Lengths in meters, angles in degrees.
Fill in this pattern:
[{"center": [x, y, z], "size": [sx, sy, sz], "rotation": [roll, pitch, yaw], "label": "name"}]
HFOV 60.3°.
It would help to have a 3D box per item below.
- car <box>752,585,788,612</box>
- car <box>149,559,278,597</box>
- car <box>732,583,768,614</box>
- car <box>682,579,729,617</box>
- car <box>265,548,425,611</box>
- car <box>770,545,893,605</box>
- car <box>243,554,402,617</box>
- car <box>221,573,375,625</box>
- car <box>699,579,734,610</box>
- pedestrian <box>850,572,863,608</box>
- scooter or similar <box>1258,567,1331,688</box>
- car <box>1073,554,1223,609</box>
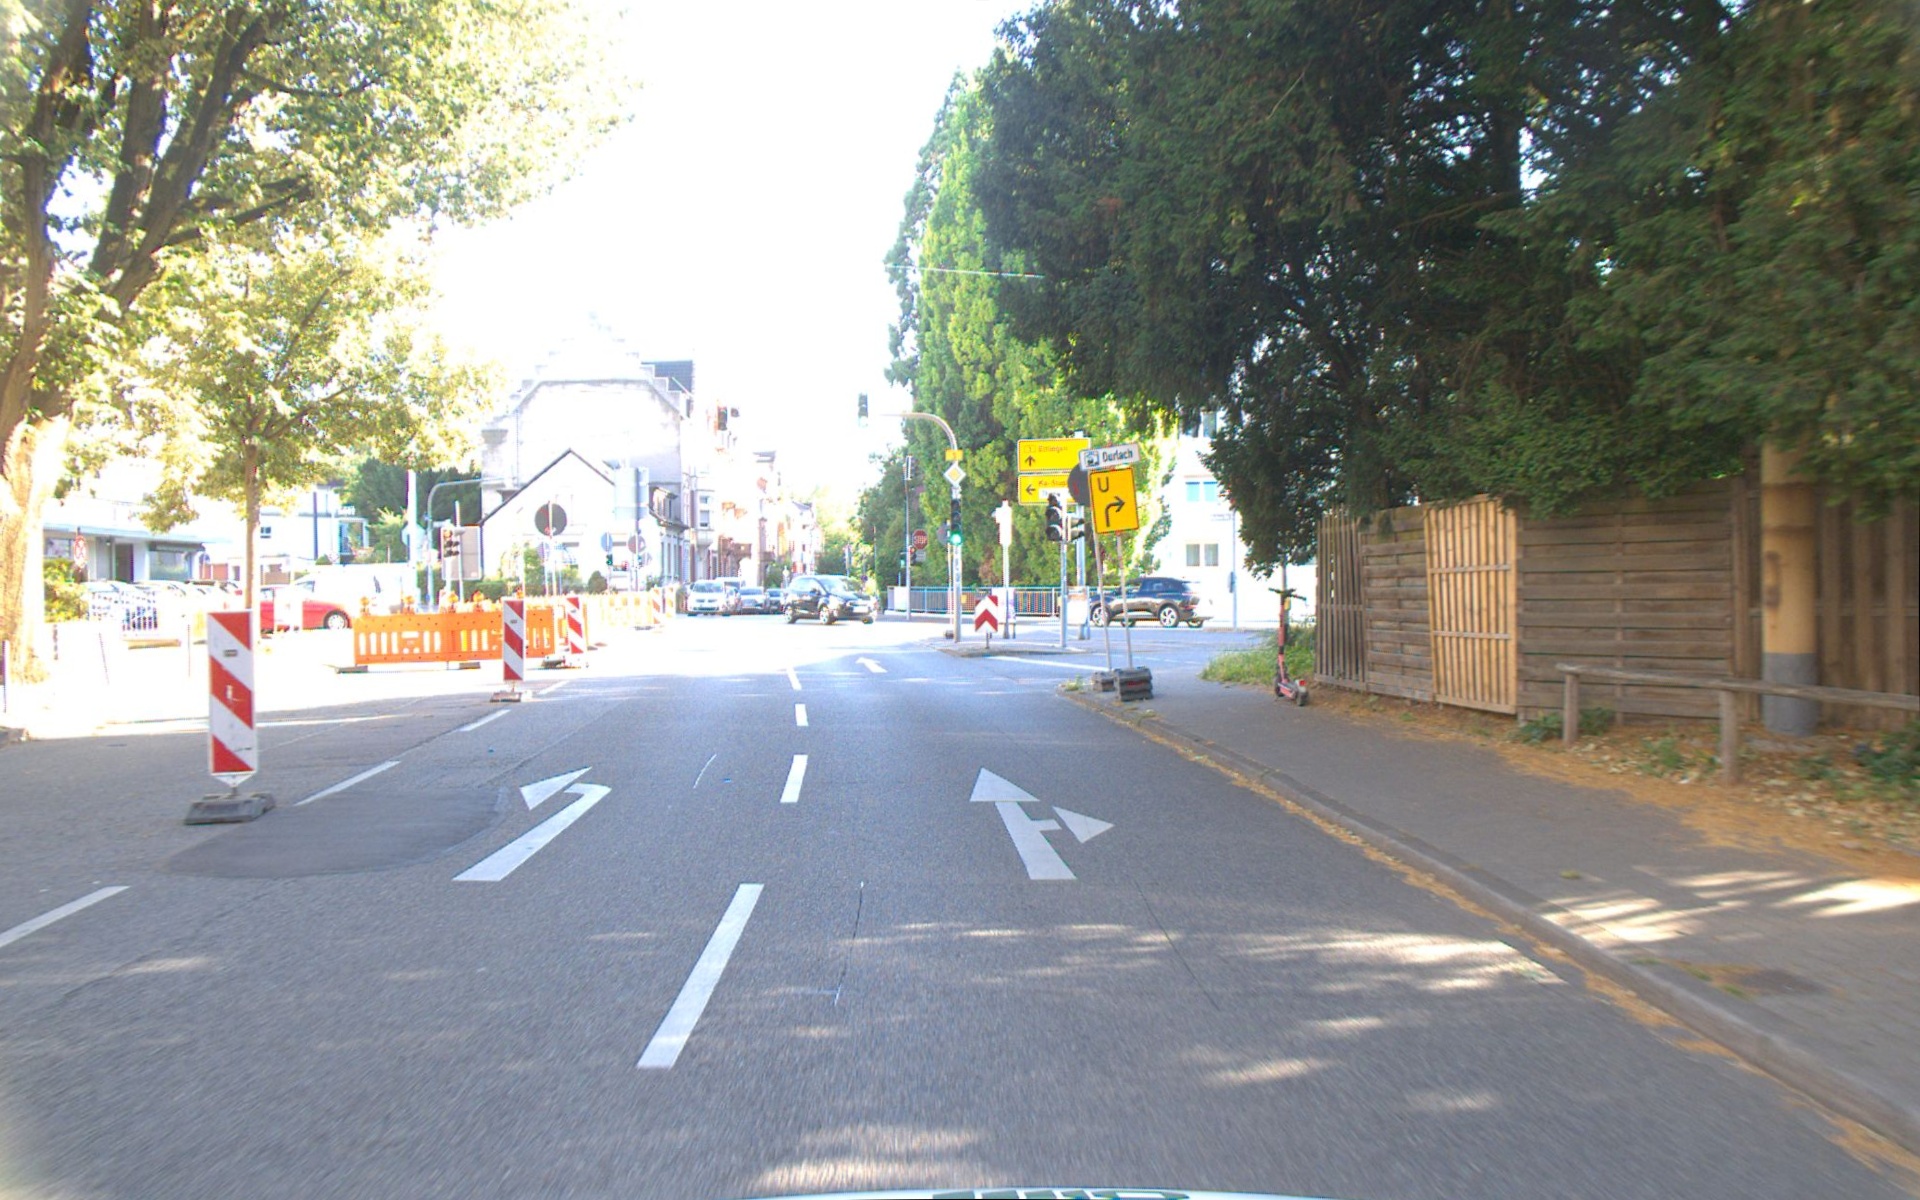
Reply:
[{"center": [-12.453, -0.141, 108.413], "size": [1.914, 1.677, 4.282], "rotation": [1, 1, -1], "label": "car"}, {"center": [-29.372, -0.871, 65.148], "size": [4.221, 1.423, 2.002], "rotation": [1, 1, 8], "label": "car"}, {"center": [-12.028, -0.132, 94.799], "size": [1.740, 1.677, 4.531], "rotation": [1, 1, -4], "label": "car"}, {"center": [-11.325, -0.113, 73.471], "size": [1.745, 1.570, 3.986], "rotation": [1, 1, -14], "label": "car"}, {"center": [-20.365, -0.683, 54.952], "size": [4.579, 1.999, 2.114], "rotation": [1, 1, -8], "label": "car"}, {"center": [-4.341, -0.868, 55.327], "size": [1.983, 1.847, 4.189], "rotation": [-4, 4, -40], "label": "car"}, {"center": [-20.039, -0.449, 52.100], "size": [4.227, 1.884, 1.999], "rotation": [1, 1, -3], "label": "car"}, {"center": [-19.743, -0.036, 49.514], "size": [3.917, 1.505, 1.996], "rotation": [0, 1, -10], "label": "car"}, {"center": [-12.506, -0.290, 85.011], "size": [1.742, 1.506, 4.089], "rotation": [1, 1, -8], "label": "car"}, {"center": [-5.067, -0.486, 81.353], "size": [0.590, 1.722, 0.612], "rotation": [-1, 1, -3], "label": "pedestrian"}, {"center": [3.560, 0.273, 17.675], "size": [0.429, 1.223, 1.258], "rotation": [-3, 1, -2], "label": "scooter or similar"}, {"center": [6.164, -0.597, 54.565], "size": [4.577, 1.699, 1.989], "rotation": [0, -2, 40], "label": "car"}]
